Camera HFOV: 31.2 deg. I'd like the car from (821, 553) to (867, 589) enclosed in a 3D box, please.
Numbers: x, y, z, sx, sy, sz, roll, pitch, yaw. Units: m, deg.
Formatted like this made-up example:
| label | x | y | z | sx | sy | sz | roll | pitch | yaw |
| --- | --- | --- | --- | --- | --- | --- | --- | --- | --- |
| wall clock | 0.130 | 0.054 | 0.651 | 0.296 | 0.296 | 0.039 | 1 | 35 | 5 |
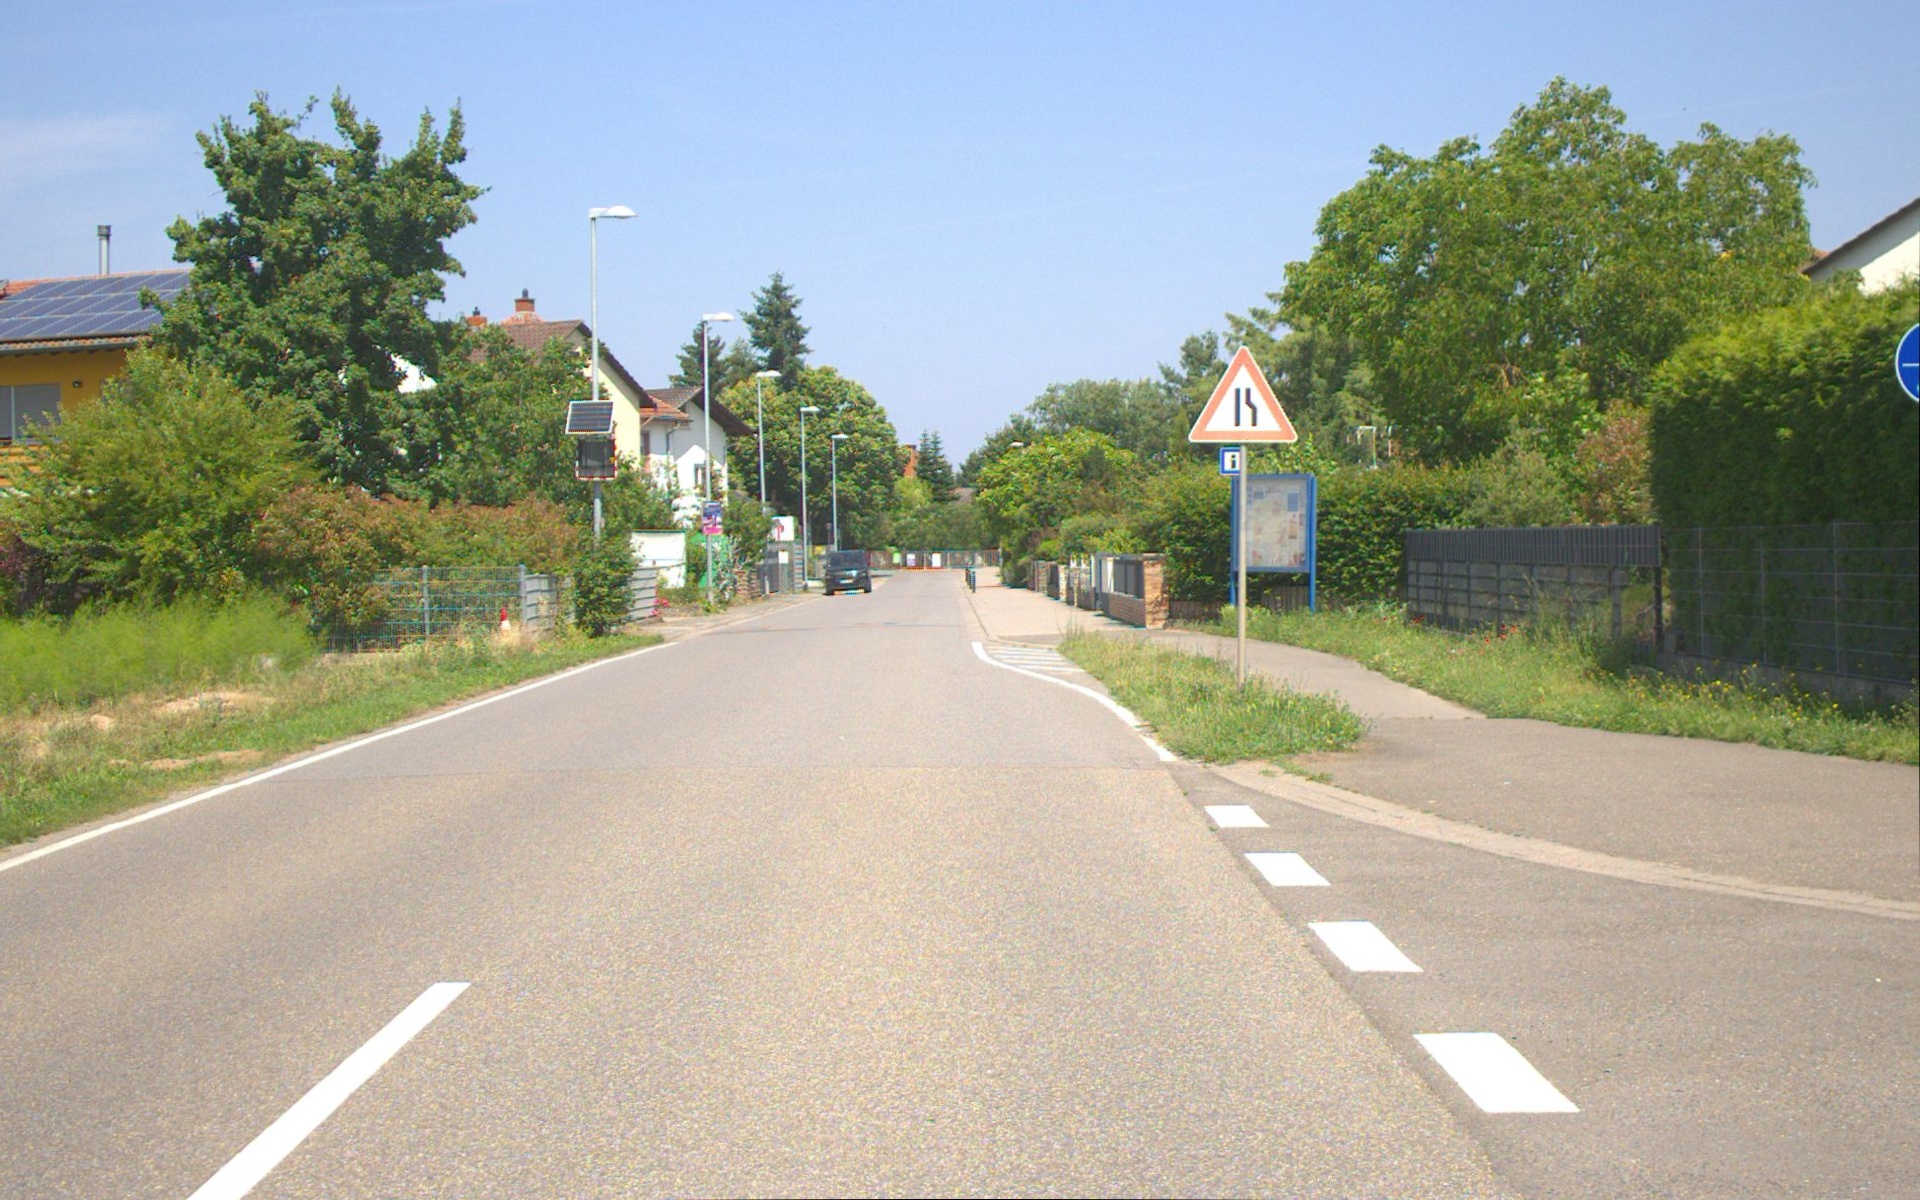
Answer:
| label | x | y | z | sx | sy | sz | roll | pitch | yaw |
| --- | --- | --- | --- | --- | --- | --- | --- | --- | --- |
| car | -4.740 | -1.213 | 140.745 | 1.759 | 1.380 | 3.453 | -2 | 1 | -1 |
